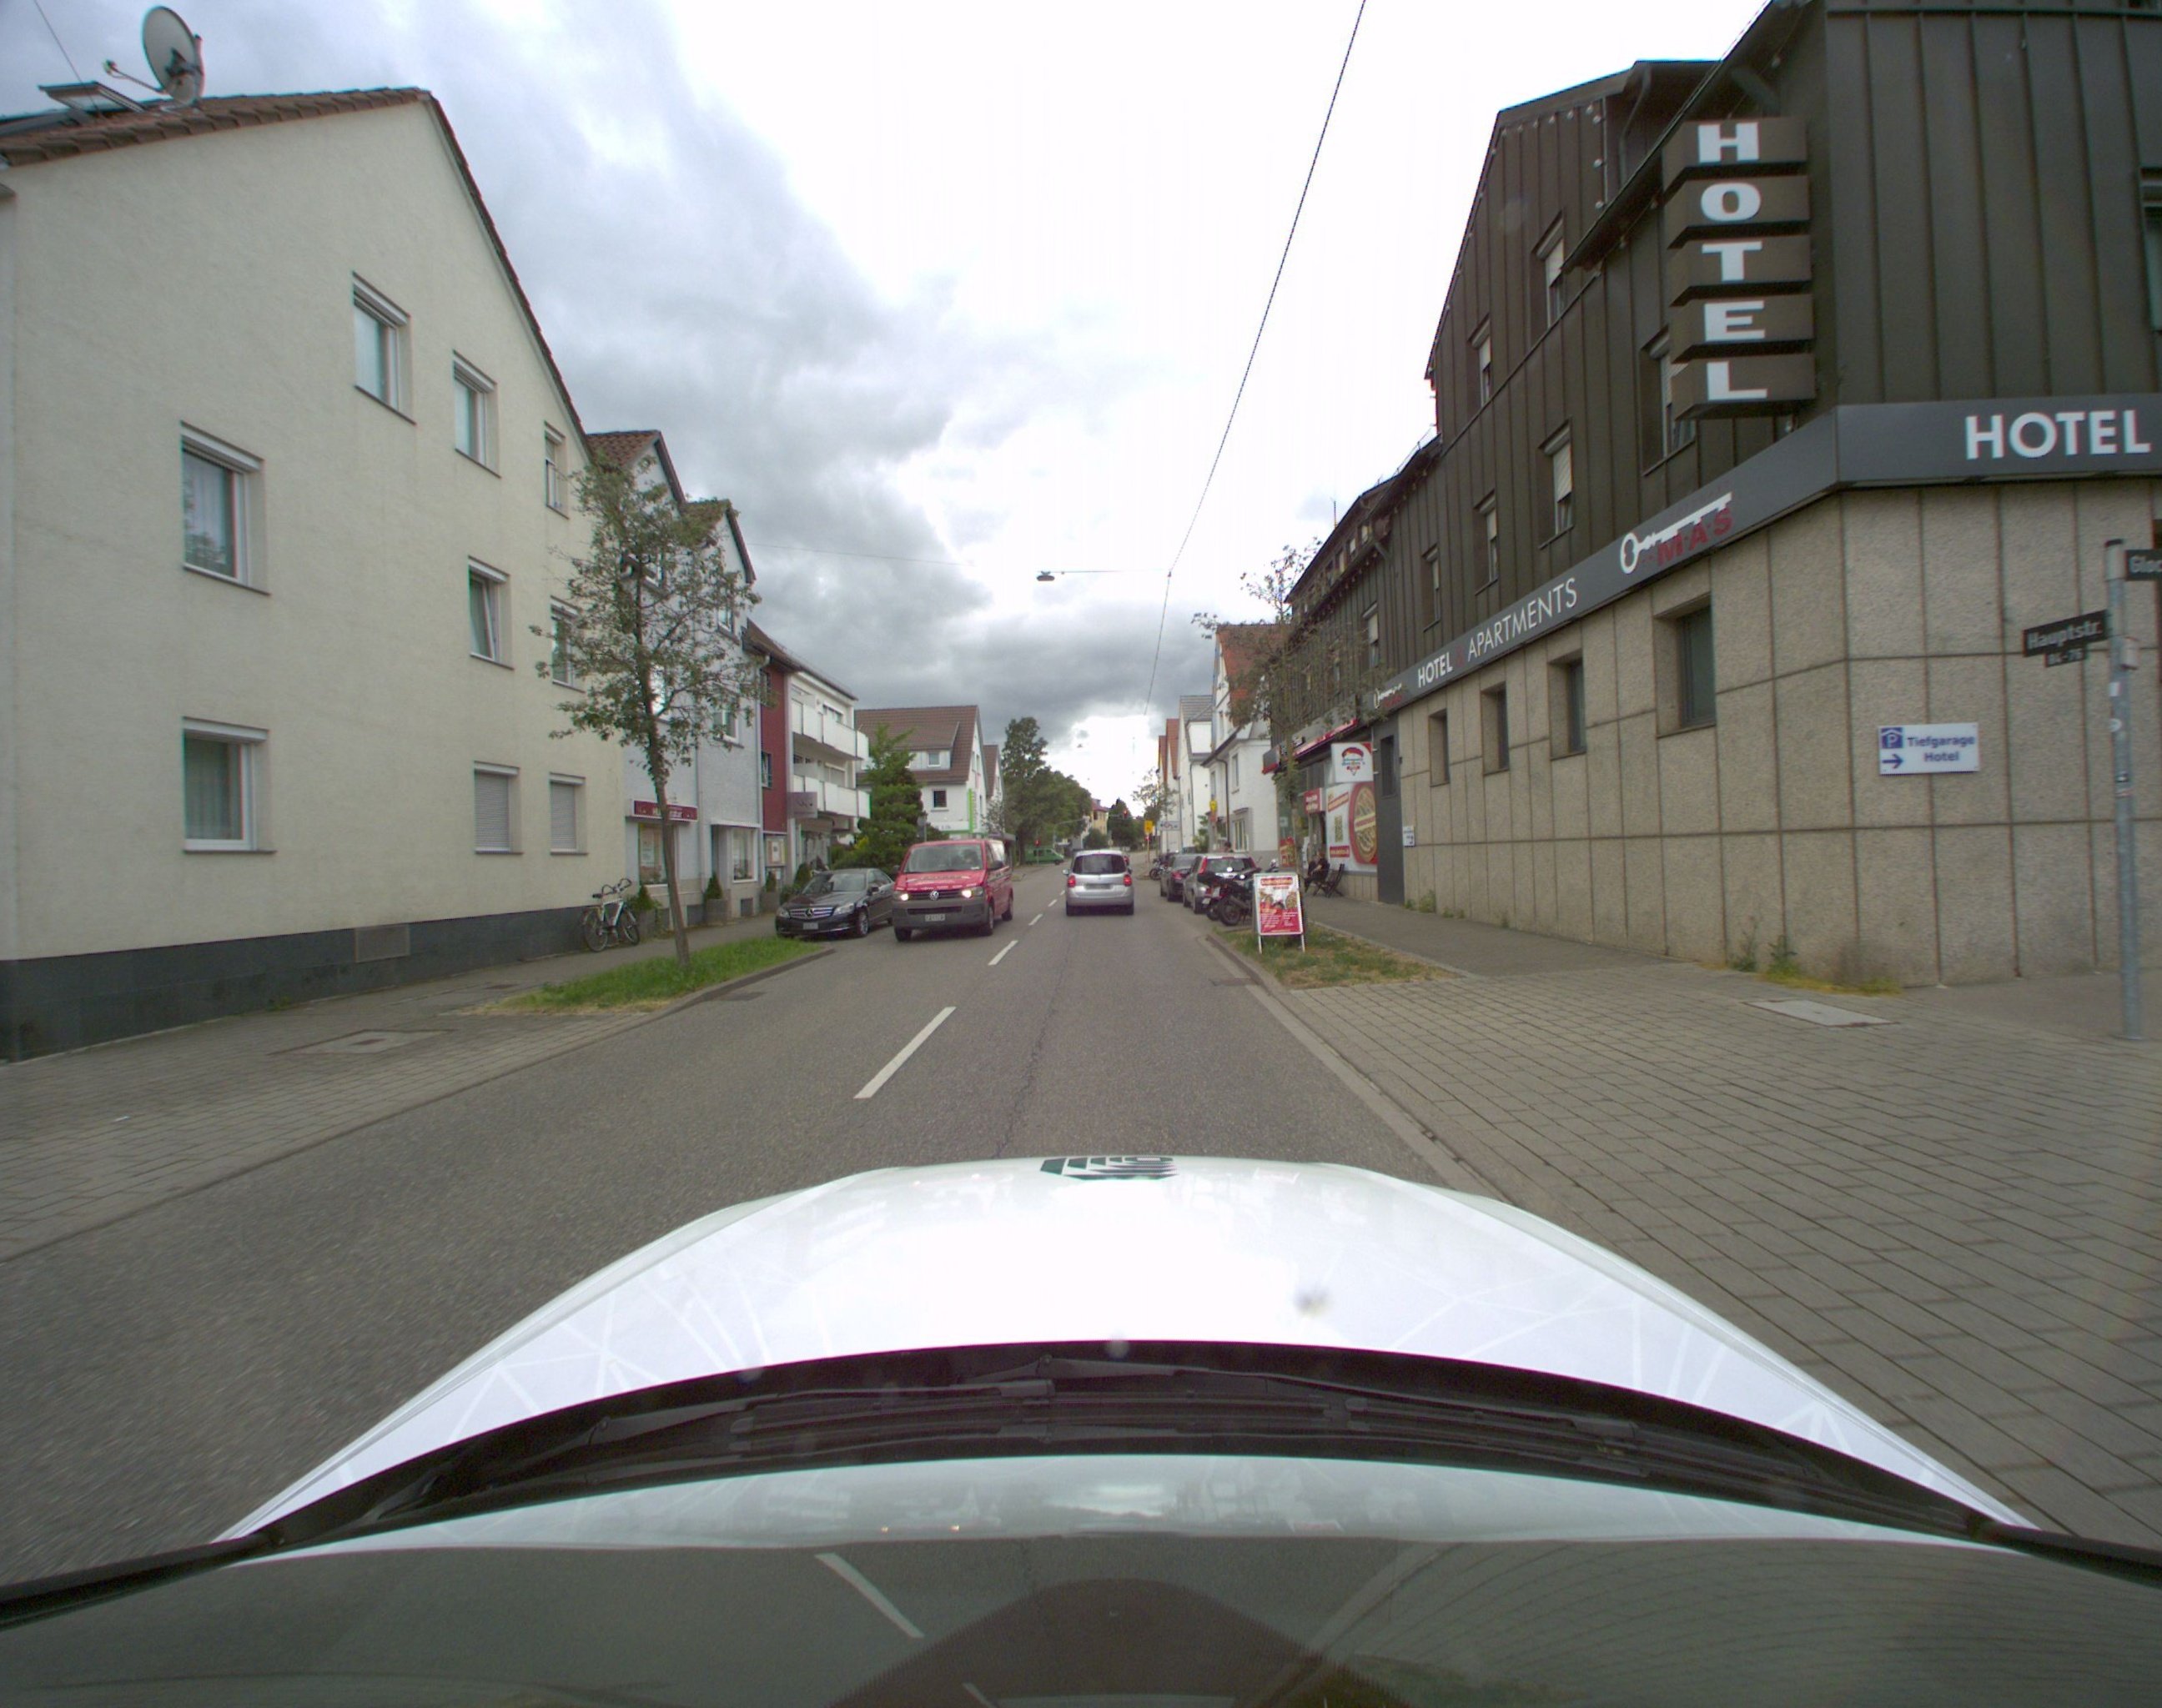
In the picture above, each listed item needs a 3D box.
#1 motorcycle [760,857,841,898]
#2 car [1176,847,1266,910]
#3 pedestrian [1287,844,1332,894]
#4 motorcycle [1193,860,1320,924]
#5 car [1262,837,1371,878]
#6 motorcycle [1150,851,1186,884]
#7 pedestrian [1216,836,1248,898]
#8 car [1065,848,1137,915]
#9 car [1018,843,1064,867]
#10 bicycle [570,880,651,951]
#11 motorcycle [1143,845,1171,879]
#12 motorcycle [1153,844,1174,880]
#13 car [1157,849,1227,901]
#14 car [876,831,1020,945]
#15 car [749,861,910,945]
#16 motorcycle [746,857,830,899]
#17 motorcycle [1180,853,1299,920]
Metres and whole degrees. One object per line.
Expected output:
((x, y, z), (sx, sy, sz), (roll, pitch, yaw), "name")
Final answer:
((-10.252, 0.853, 29.811), (2.706, 1.409, 0.698), (-1, 0, -8), "motorcycle")
((3.486, 0.574, 20.864), (1.695, 1.429, 3.891), (-1, 0, 1), "car")
((6.330, 0.406, 22.567), (0.884, 1.300, 0.967), (-5, 0, 2), "pedestrian")
((3.616, 0.738, 16.665), (2.745, 1.183, 0.693), (-1, 0, -29), "motorcycle")
((9.549, 0.135, 33.178), (3.965, 1.566, 1.688), (-1, 0, 1), "car")
((3.881, 0.563, 36.111), (0.691, 1.409, 2.732), (-1, 0, 26), "motorcycle")
((4.754, 0.407, 25.732), (0.853, 1.928, 0.900), (-1, 0, 1), "pedestrian")
((0.551, 0.640, 21.032), (1.676, 1.566, 3.995), (-1, 0, 2), "car")
((-5.142, 0.131, 105.335), (5.911, 2.907, 2.254), (-1, 0, -1), "car")
((-8.499, 1.079, 14.790), (0.513, 1.153, 1.665), (-1, 0, -1), "bicycle")
((3.761, 0.407, 40.685), (0.698, 1.639, 2.399), (-1, 0, -12), "motorcycle")
((3.862, 0.360, 38.037), (0.693, 1.639, 2.416), (-1, 0, 11), "motorcycle")
((3.422, 0.602, 25.679), (1.694, 1.467, 4.239), (-1, 0, 1), "car")
((-2.637, 0.627, 17.548), (1.941, 1.961, 5.225), (-4, 0, 2), "car")
((-5.361, 0.980, 18.102), (1.941, 1.467, 4.518), (-4, 0, 2), "car")
((-10.397, 0.833, 28.986), (2.706, 1.409, 0.698), (-1, 0, -8), "motorcycle")
((3.469, 0.666, 17.714), (2.723, 1.336, 0.693), (-1, 0, -29), "motorcycle")
